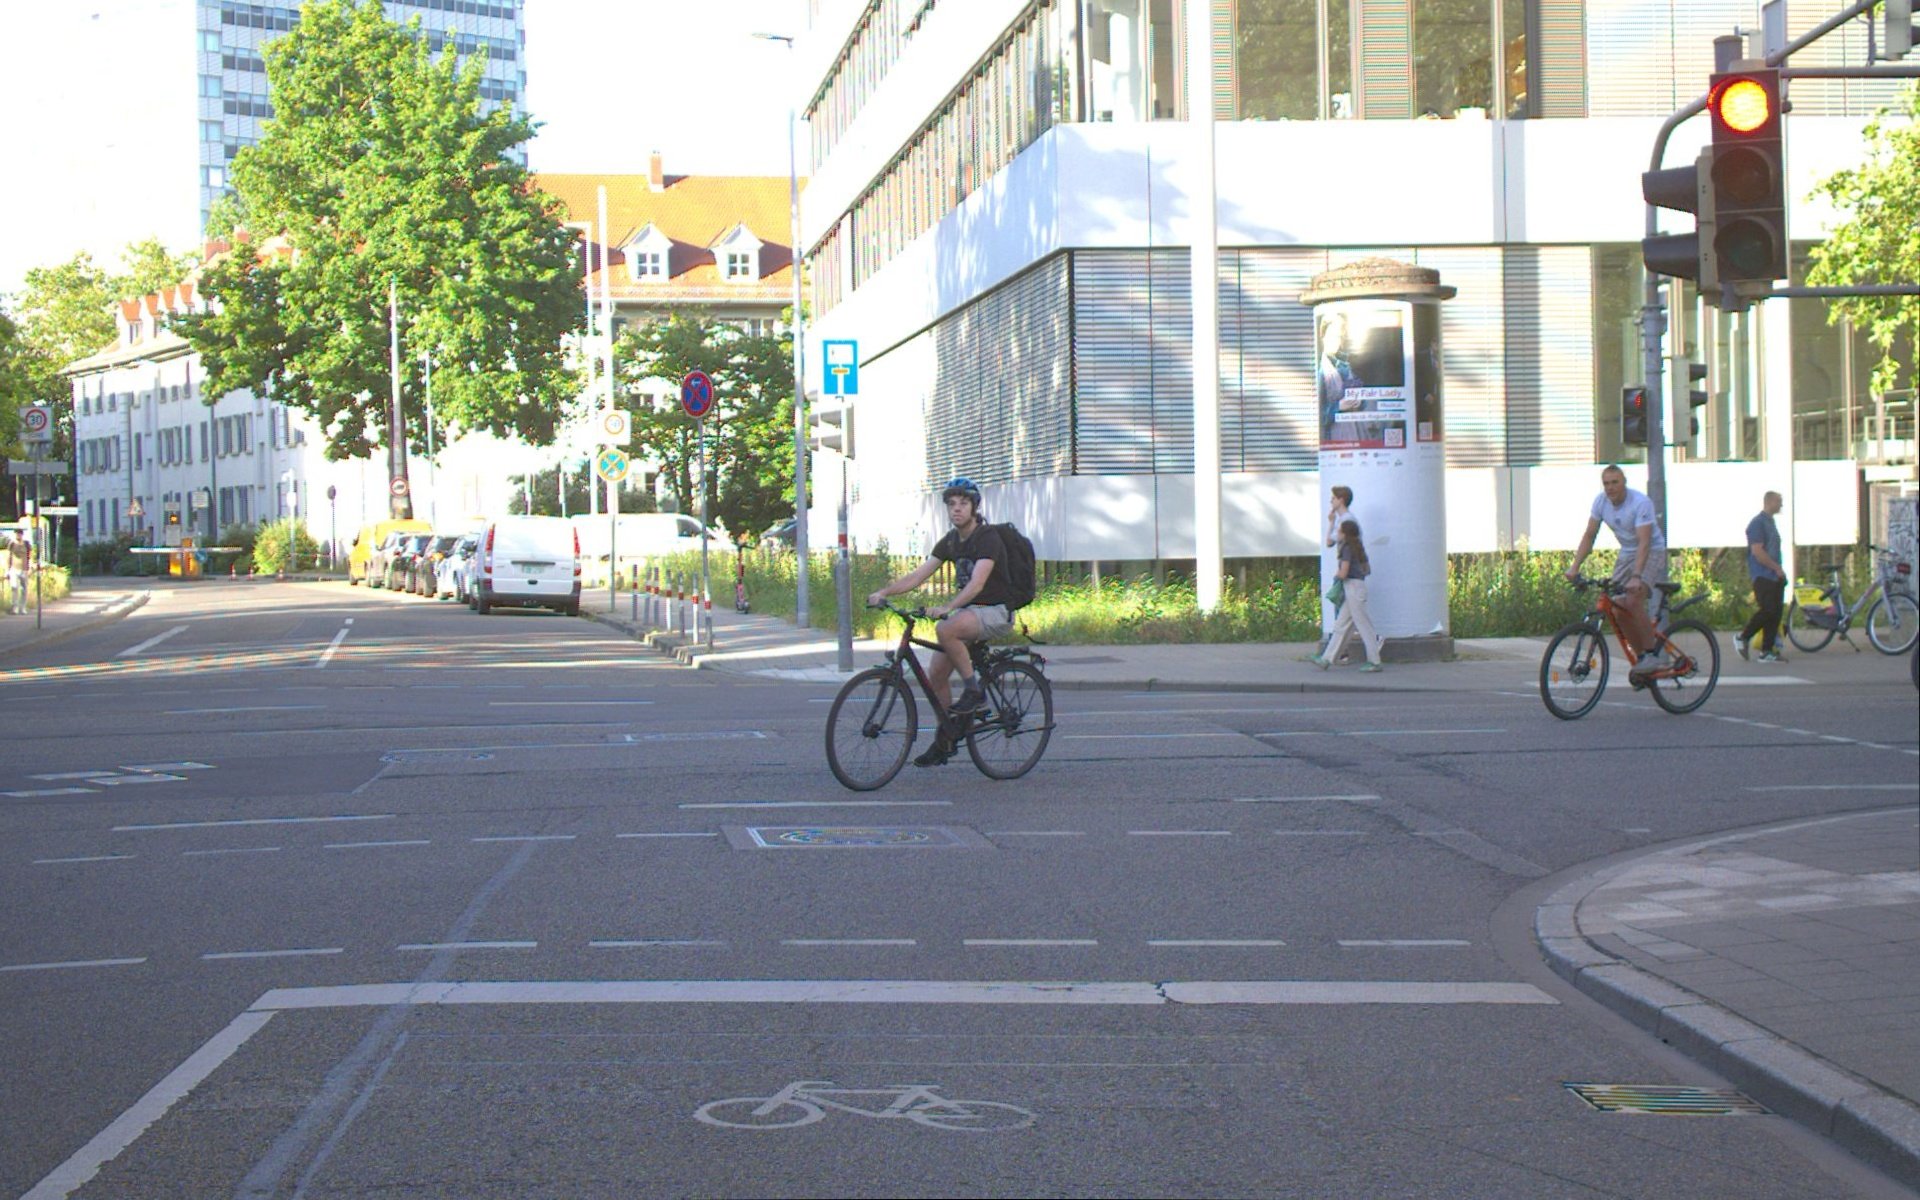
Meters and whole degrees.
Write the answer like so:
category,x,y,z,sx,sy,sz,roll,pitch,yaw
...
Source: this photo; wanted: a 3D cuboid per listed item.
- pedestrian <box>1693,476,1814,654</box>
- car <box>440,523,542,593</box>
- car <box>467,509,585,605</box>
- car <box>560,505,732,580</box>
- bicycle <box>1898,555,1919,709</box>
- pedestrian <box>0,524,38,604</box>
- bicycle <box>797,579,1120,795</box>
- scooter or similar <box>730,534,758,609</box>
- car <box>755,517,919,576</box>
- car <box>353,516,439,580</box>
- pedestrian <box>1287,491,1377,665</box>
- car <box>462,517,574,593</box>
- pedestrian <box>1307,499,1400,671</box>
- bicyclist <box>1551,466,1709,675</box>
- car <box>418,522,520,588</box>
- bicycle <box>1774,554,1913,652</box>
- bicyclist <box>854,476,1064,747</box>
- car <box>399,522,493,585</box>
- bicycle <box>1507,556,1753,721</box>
category,x,y,z,sx,sy,sz,roll,pitch,yaw
pedestrian,8.172,-0.360,35.431,0.760,1.809,0.917,1,0,-38
car,-10.507,-0.932,76.814,1.993,1.493,4.653,1,1,-11
car,-8.222,-0.813,64.829,1.993,1.719,4.653,1,1,-10
car,-9.405,-1.698,102.938,4.791,2.151,2.001,1,0,-17
bicycle,8.067,0.228,25.976,1.778,1.148,0.628,-1,1,-6
pedestrian,-18.875,-0.723,68.950,0.699,1.581,0.637,1,0,-16
bicycle,0.013,0.477,19.910,1.964,1.148,0.592,-2,2,-42
scooter or similar,-3.661,-0.487,58.298,0.437,1.252,1.420,-1,1,-4
car,-3.758,-1.625,104.781,4.635,1.719,2.001,1,0,-16
car,-15.741,-1.449,95.841,1.993,1.719,4.653,1,1,-14
pedestrian,3.868,-0.231,35.738,0.766,1.789,0.647,1,0,21
car,-9.173,-0.931,71.042,1.993,1.493,4.653,1,1,-11
pedestrian,3.990,-0.155,34.833,0.766,1.713,0.647,1,0,21
bicyclist,4.983,-0.231,25.557,0.916,1.517,0.704,-2,1,-37
car,-11.629,-1.057,81.261,1.993,1.493,4.288,1,1,-13
bicycle,9.282,0.025,36.155,0.378,1.005,1.432,-2,2,-42
bicyclist,-0.002,0.051,19.910,1.076,1.522,0.592,-2,2,-42
car,-12.882,-1.161,85.985,1.993,1.493,4.653,1,1,-13
bicycle,4.996,0.266,25.557,1.964,1.148,0.627,-2,2,-37
